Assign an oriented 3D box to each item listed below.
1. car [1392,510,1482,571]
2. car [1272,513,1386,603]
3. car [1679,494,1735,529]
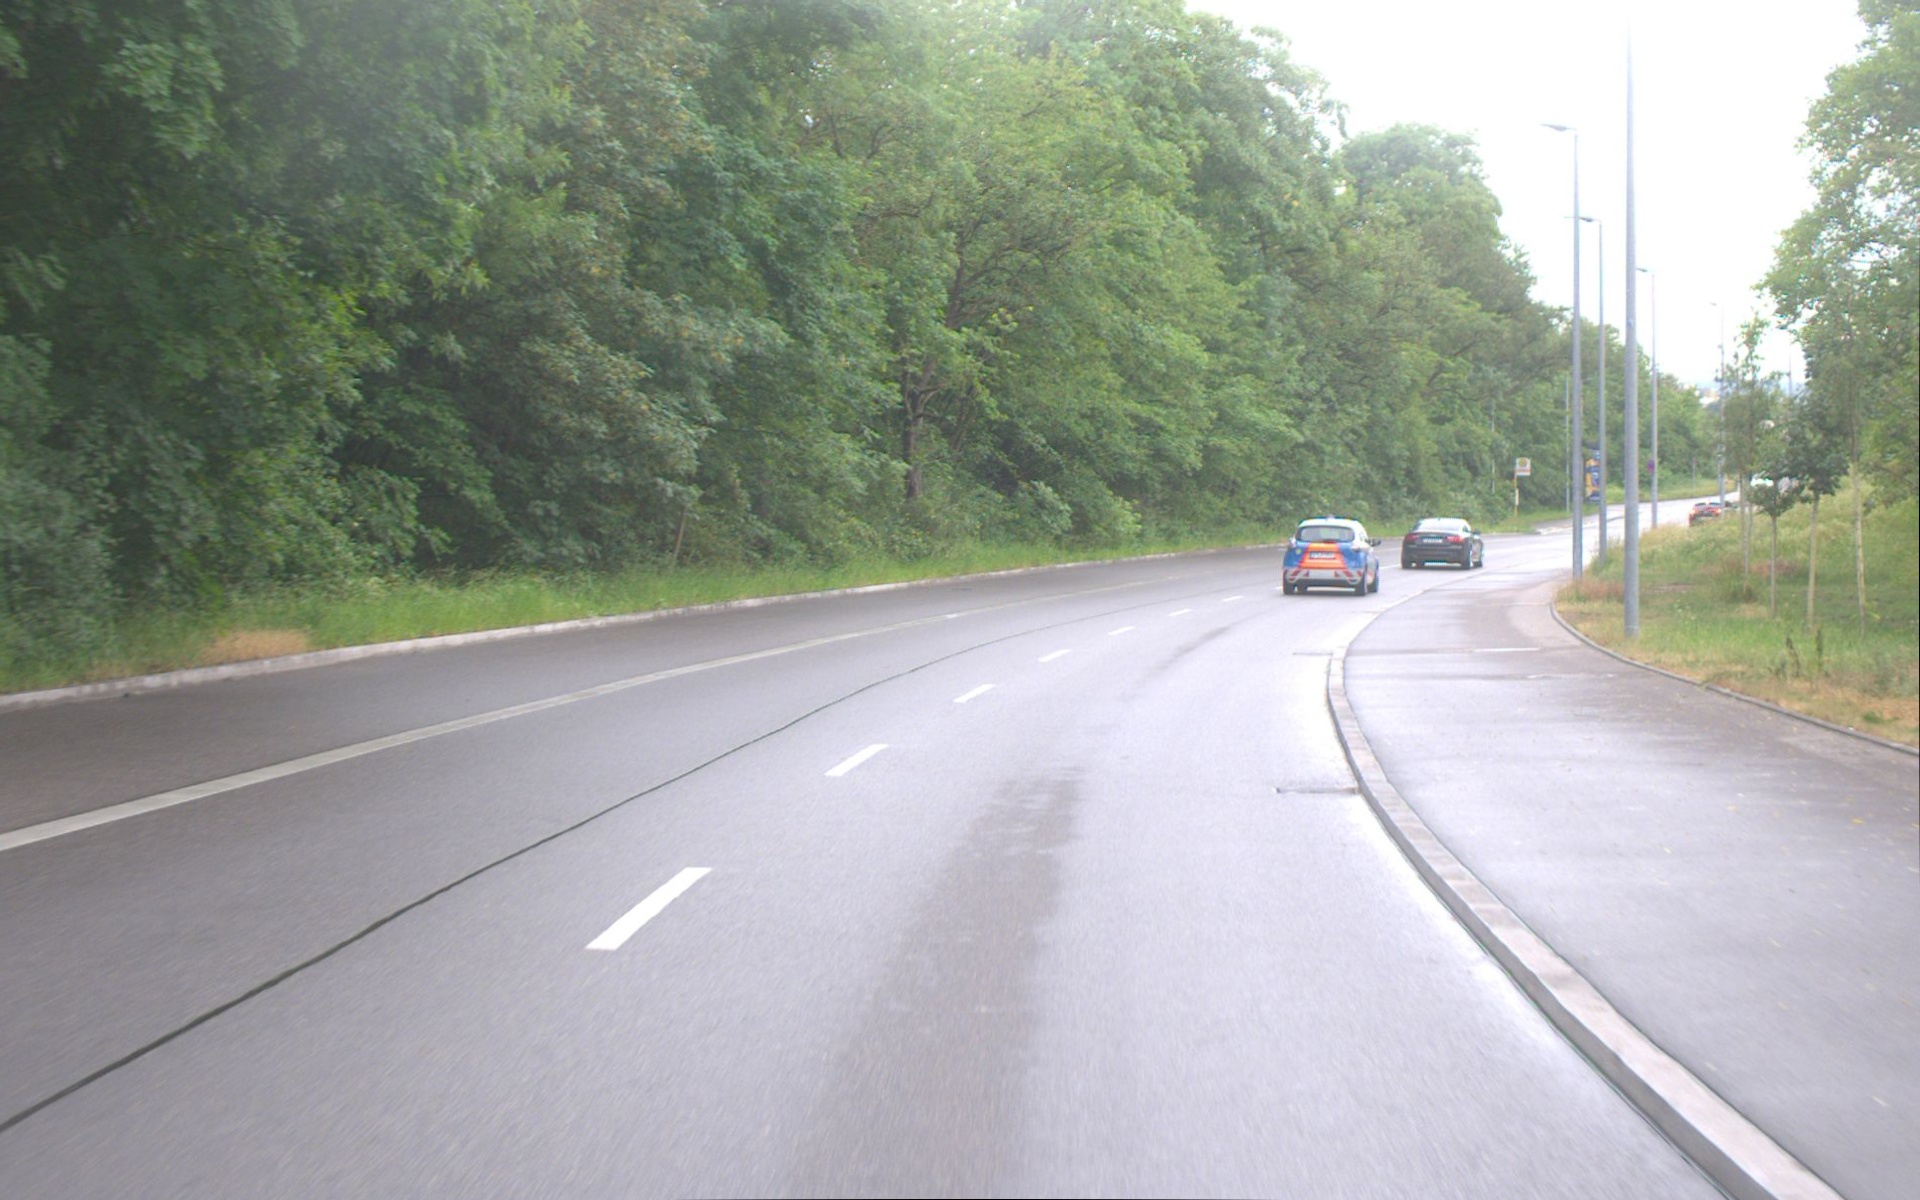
[{"bbox_3d":[12.992,-1.636,93.502,1.928,1.481,3.797,0,3,15],"label":"car"},{"bbox_3d":[7.748,-0.899,71.939,1.994,1.683,3.999,-1,3,11],"label":"car"},{"bbox_3d":[33.737,-4.003,155.206,1.995,1.546,3.997,1,2,18],"label":"car"}]
